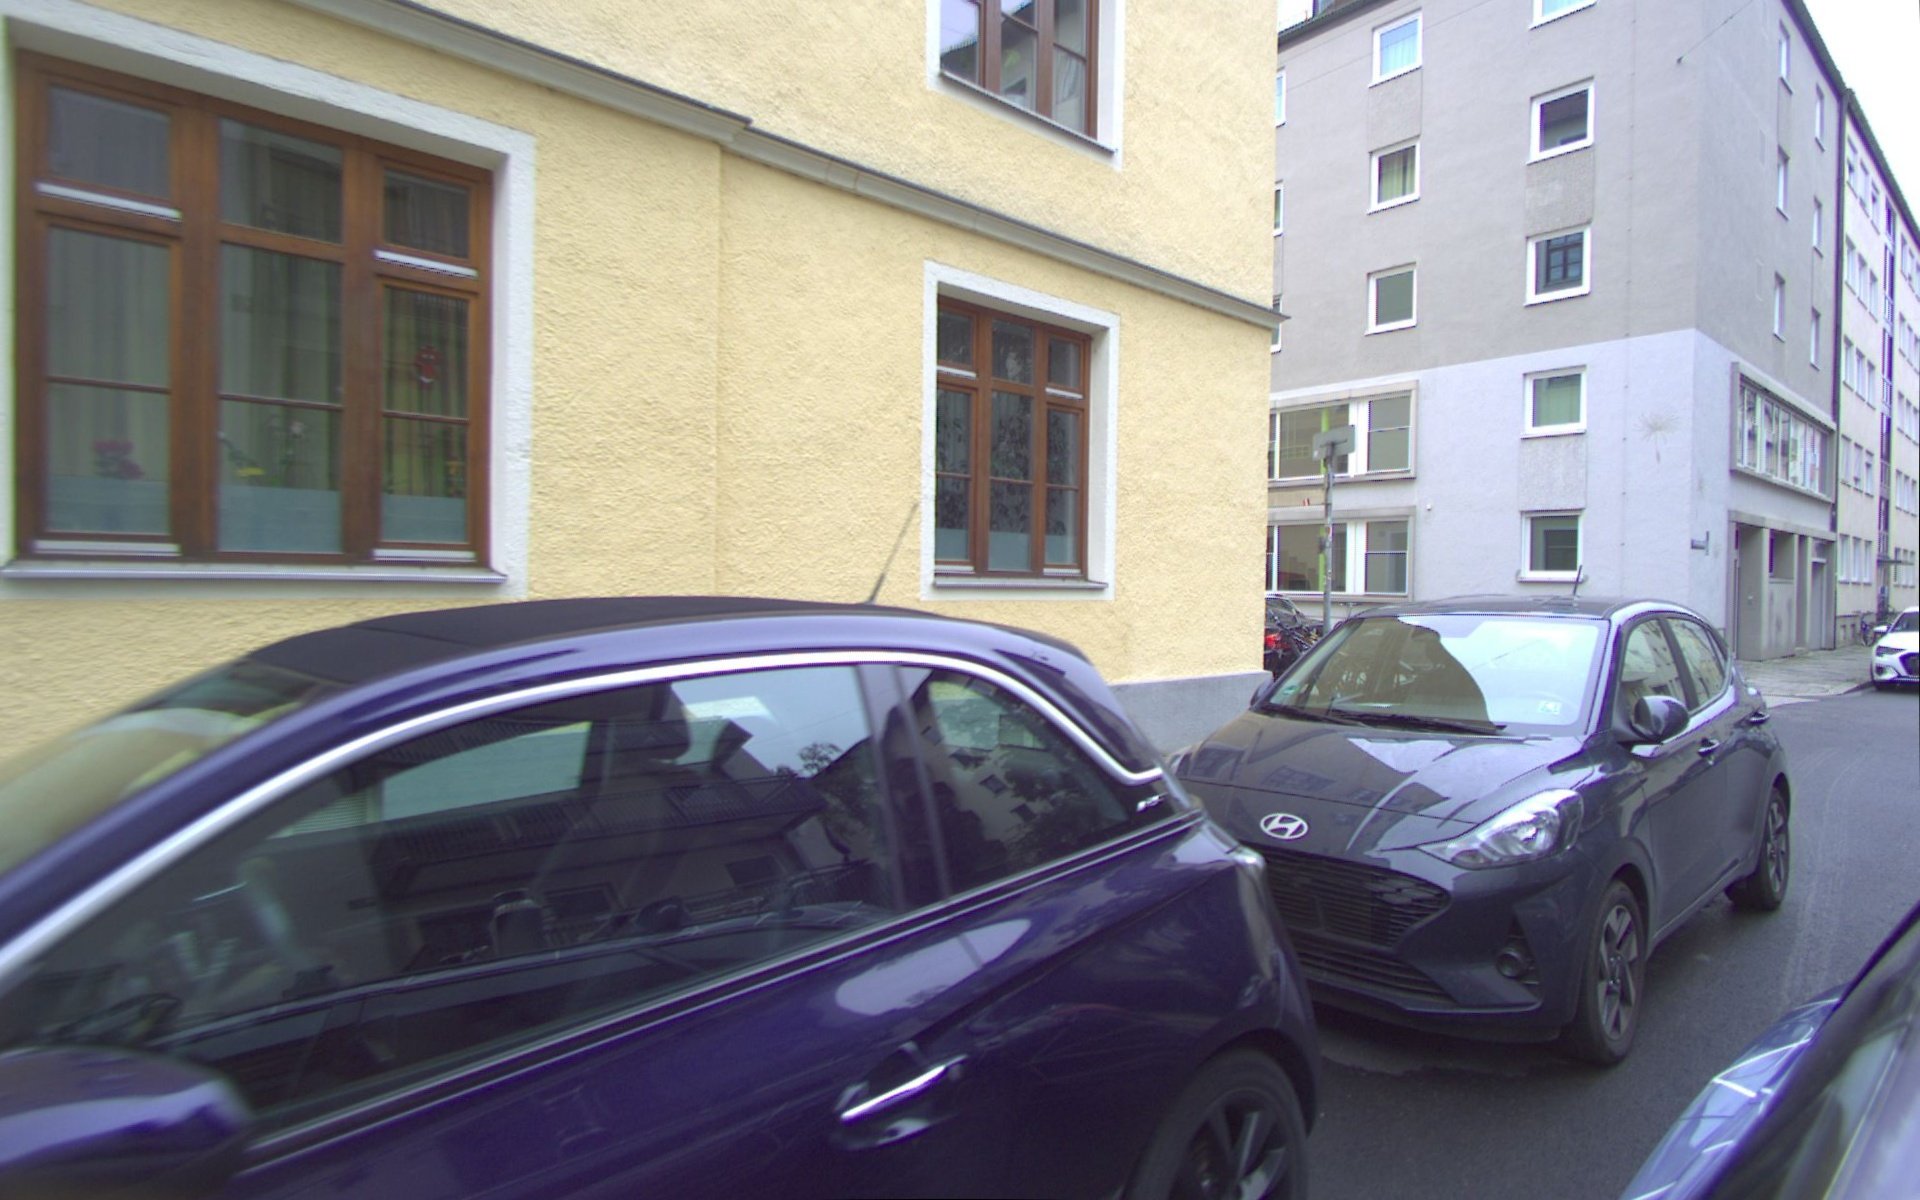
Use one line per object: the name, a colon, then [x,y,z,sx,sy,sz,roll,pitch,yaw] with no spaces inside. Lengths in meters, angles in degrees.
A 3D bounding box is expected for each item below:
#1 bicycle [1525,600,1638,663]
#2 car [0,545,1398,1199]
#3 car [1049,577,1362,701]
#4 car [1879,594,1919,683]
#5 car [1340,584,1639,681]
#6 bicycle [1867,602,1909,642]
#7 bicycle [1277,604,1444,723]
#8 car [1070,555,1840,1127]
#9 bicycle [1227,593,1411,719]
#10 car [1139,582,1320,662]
bicycle: [11.871,0.578,19.367,0.457,1.130,1.800,0,0,-41]
car: [-0.992,0.722,1.595,3.753,1.488,1.666,0,-2,-42]
car: [3.391,0.428,14.641,1.682,1.512,4.218,-1,2,-42]
car: [17.031,0.611,17.068,3.883,1.426,1.822,0,0,-41]
car: [9.092,0.489,17.624,1.966,1.417,4.209,2,0,-43]
bicycle: [27.142,0.630,29.600,1.766,1.041,0.645,-1,5,-41]
bicycle: [4.415,0.668,11.262,0.367,1.153,1.717,2,1,-41]
car: [2.605,0.645,4.740,4.268,1.488,1.753,0,-2,-42]
bicycle: [3.834,0.562,10.933,0.496,1.188,1.811,2,1,-42]
car: [5.632,0.441,21.407,1.538,1.454,3.350,6,-3,-41]
